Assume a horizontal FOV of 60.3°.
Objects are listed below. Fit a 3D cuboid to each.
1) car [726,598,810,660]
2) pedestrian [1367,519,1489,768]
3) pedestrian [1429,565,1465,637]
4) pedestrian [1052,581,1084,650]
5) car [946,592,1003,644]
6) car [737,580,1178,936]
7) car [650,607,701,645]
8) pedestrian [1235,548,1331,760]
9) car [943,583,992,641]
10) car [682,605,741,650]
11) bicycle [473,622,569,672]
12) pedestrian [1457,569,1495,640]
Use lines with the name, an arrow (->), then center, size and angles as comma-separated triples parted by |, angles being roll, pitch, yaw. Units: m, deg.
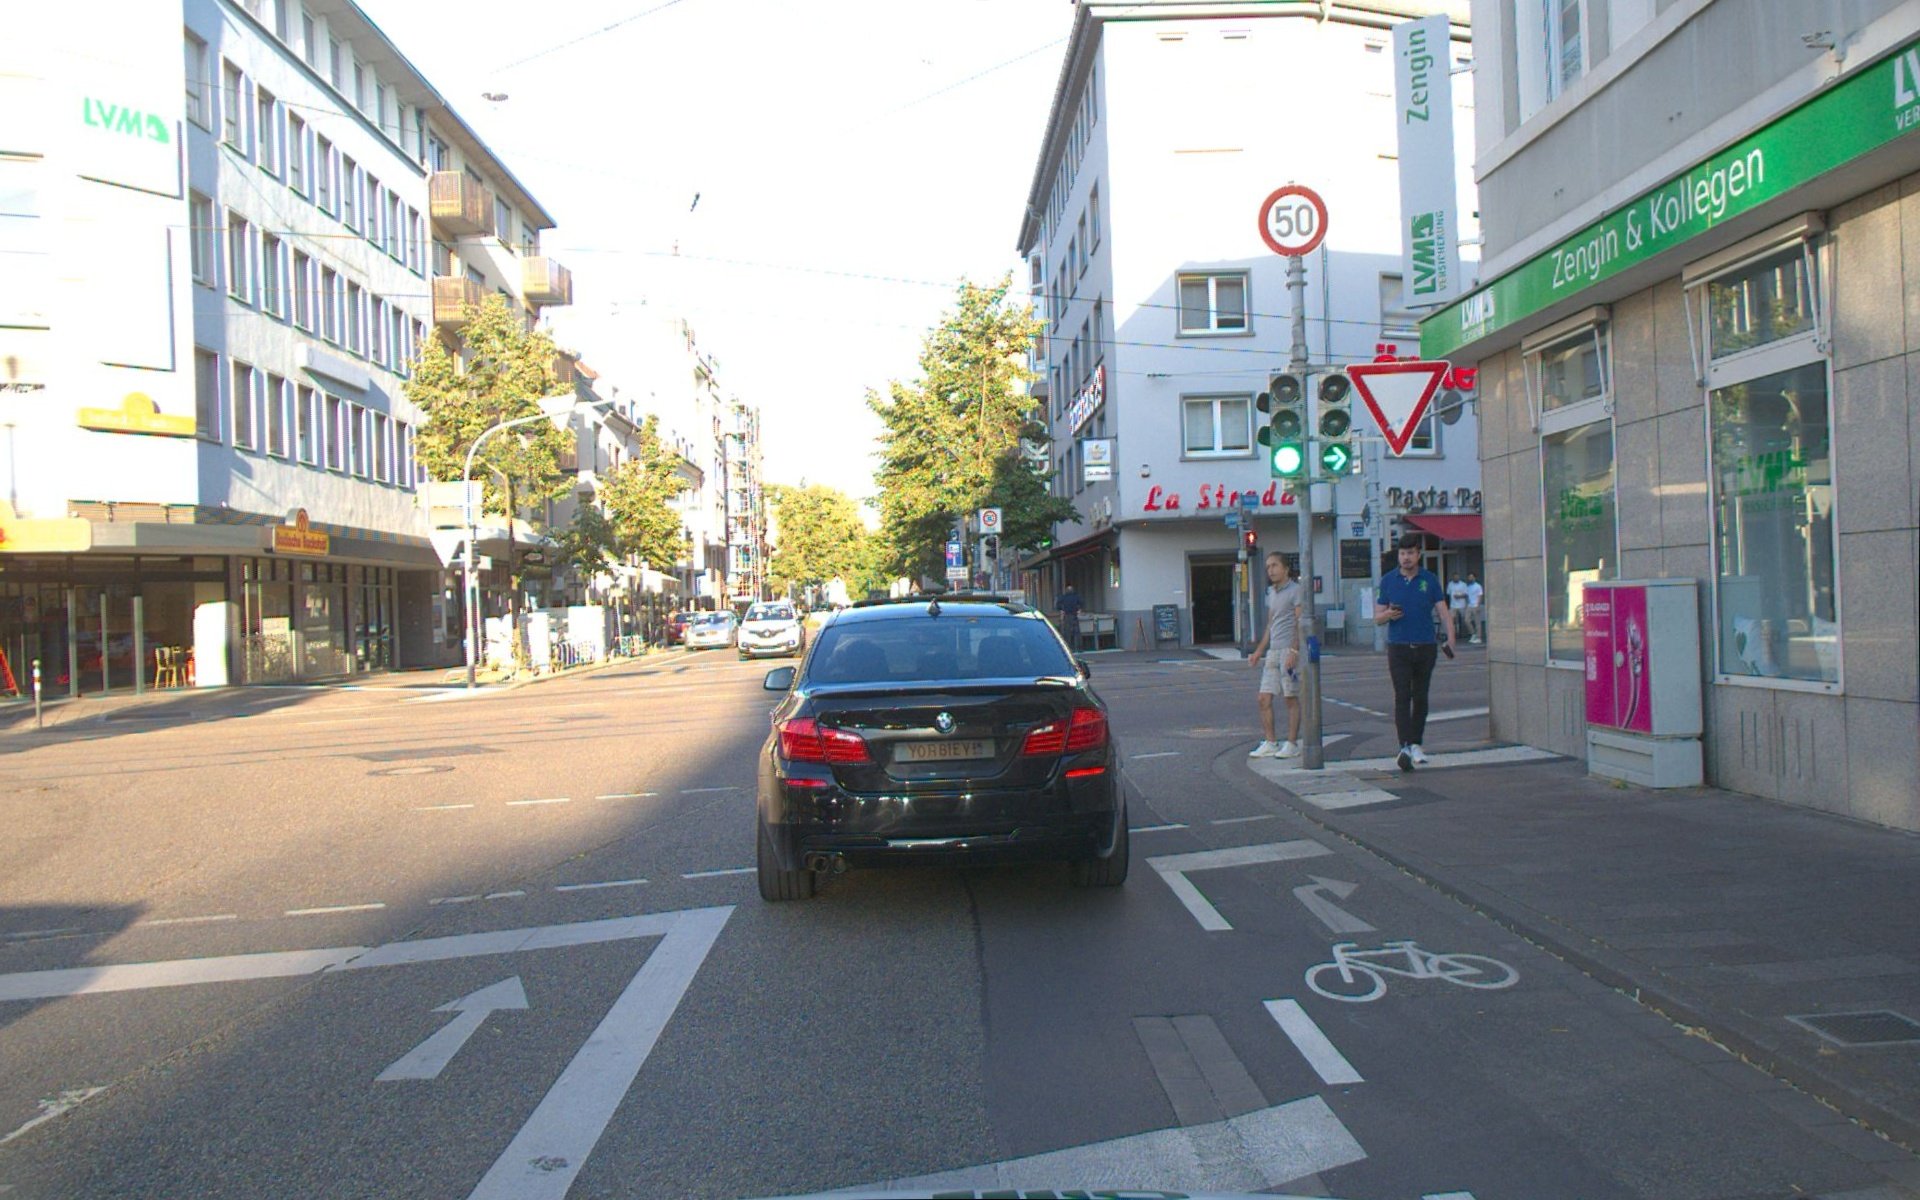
car -> -5.414, 0.817, 47.067 | 2.066, 1.583, 4.009 | -3, -1, -4
pedestrian -> 3.664, 0.329, 13.010 | 0.676, 1.859, 0.881 | -3, 0, 4
pedestrian -> 12.542, 0.024, 42.619 | 0.595, 1.810, 0.628 | -2, 0, -43
pedestrian -> 2.742, 0.387, 41.948 | 0.697, 1.705, 0.703 | -2, 0, -3
car -> 0.444, 0.525, 50.115 | 1.606, 1.469, 3.607 | -2, 0, 1
car -> -0.035, 0.696, 9.498 | 1.914, 1.524, 4.464 | -1, 0, -1
car -> -12.786, 1.170, 74.537 | 1.798, 1.583, 3.777 | -3, -1, -4
pedestrian -> 2.795, 0.461, 14.292 | 0.638, 1.773, 0.694 | -2, 0, 21
car -> 0.284, 0.370, 56.778 | 1.606, 1.906, 3.607 | 1, 1, 1
car -> -9.284, 1.013, 61.992 | 1.798, 1.583, 3.777 | -2, 0, -4
bicycle -> -11.344, 1.213, 42.813 | 2.321, 1.275, 0.639 | 0, -1, -7
pedestrian -> 13.116, 0.105, 42.038 | 0.664, 1.775, 0.628 | -2, 0, -44
